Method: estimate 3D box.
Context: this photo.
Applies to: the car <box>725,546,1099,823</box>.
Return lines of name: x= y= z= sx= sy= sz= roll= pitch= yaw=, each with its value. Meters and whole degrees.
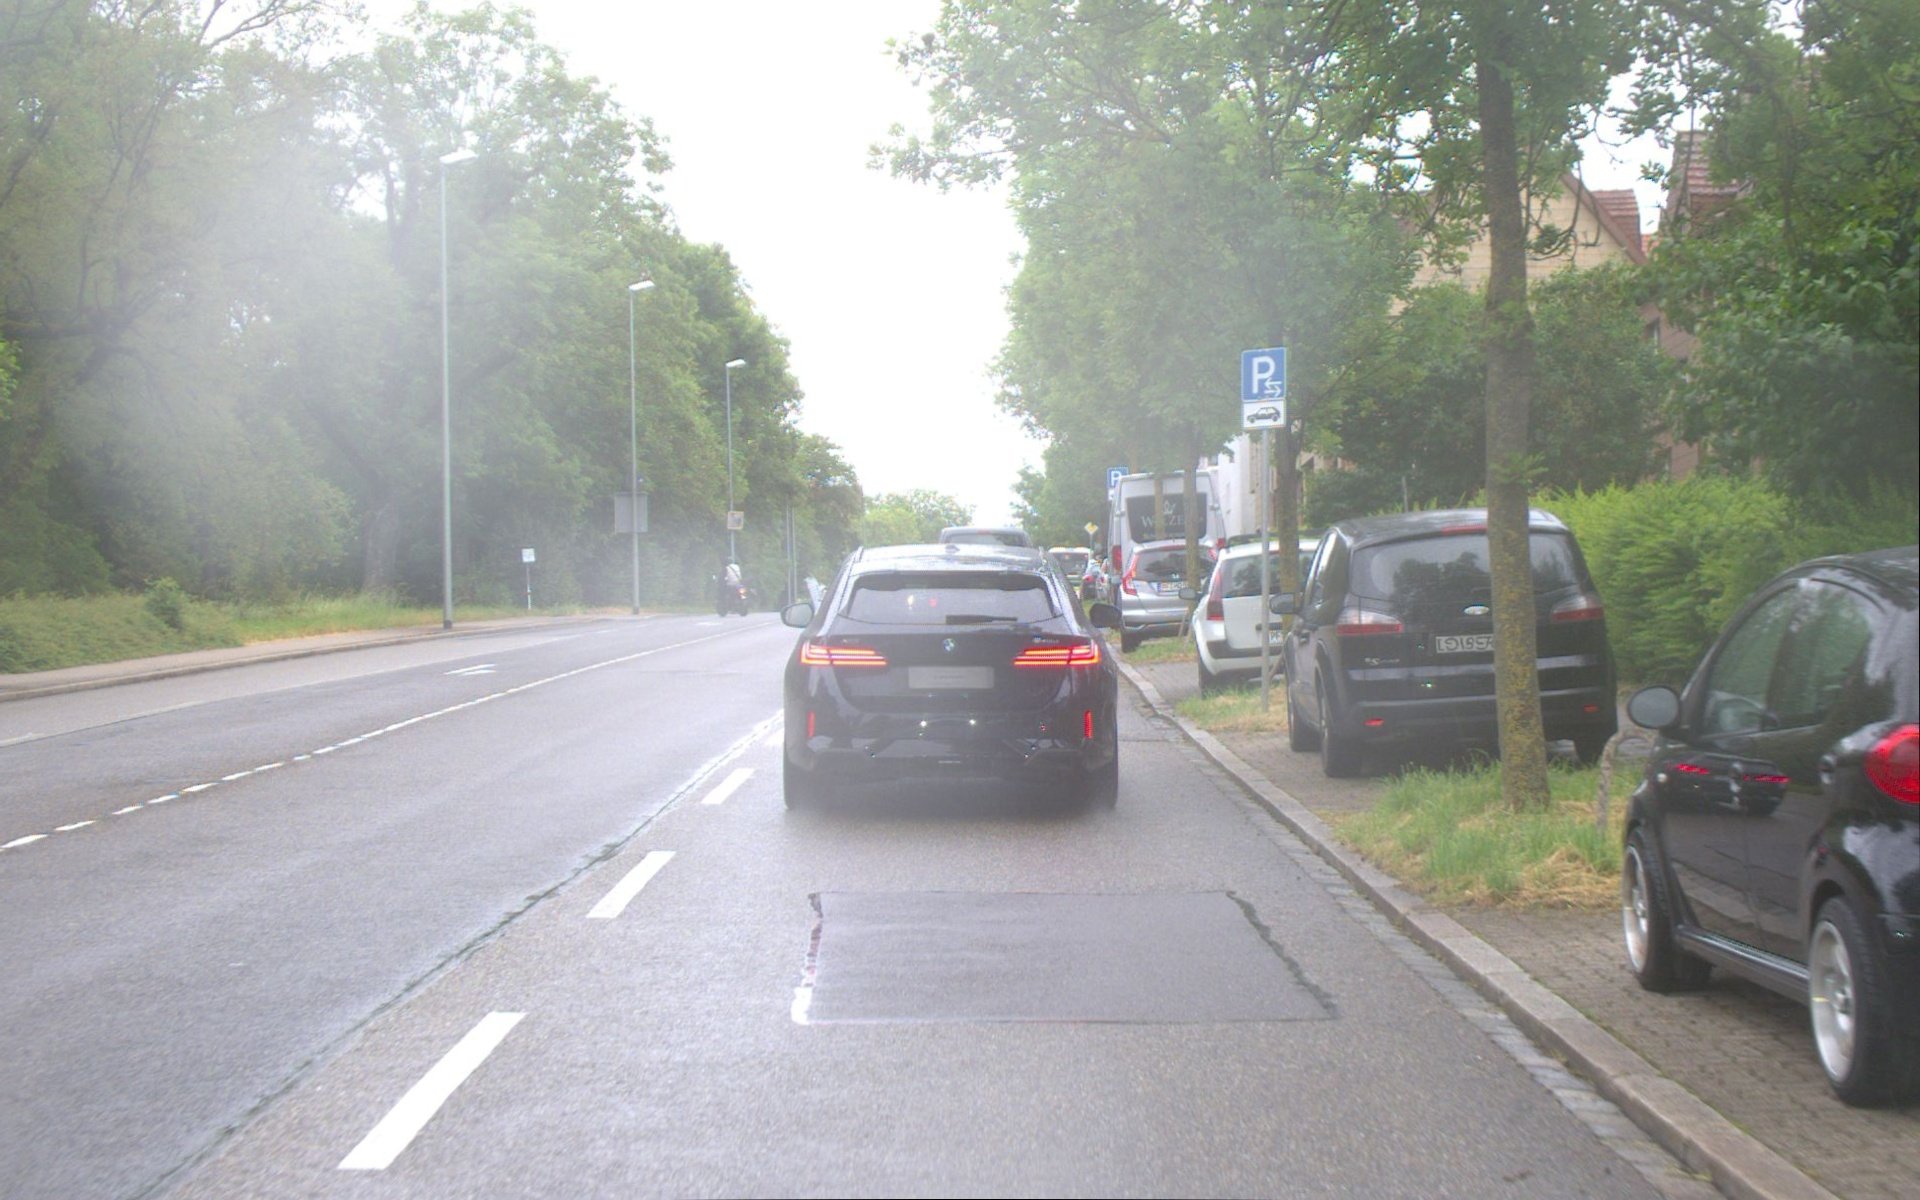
car: x=-0.270 y=0.460 z=20.682 sx=1.993 sy=1.448 sz=4.000 roll=2 pitch=0 yaw=0

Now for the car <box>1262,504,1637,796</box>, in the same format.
car: x=3.142 y=0.273 z=22.950 sx=1.824 sy=1.672 sz=4.584 roll=-3 pitch=1 yaw=1

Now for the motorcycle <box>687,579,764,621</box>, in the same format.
motorcycle: x=-6.410 y=-0.007 z=94.047 sx=2.187 sy=1.114 sz=0.822 roll=1 pitch=1 yaw=43

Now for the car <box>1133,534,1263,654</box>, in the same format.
car: x=3.378 y=-0.098 z=48.869 sx=1.668 sy=1.523 sz=3.831 roll=-4 pitch=0 yaw=4

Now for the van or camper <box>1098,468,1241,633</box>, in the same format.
van or camper: x=3.625 y=-0.879 z=60.750 sx=2.198 sy=2.642 sz=7.301 roll=-3 pitch=1 yaw=2

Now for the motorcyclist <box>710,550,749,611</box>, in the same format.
motorcyclist: x=-6.298 y=-0.534 z=93.945 sx=0.651 sy=1.675 sz=0.811 roll=1 pitch=1 yaw=43

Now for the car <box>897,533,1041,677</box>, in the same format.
car: x=0.175 y=0.077 z=50.446 sx=1.993 sy=2.007 sz=4.000 roll=0 pitch=0 yaw=2

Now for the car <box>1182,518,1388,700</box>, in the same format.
car: x=3.153 y=0.047 z=33.860 sx=1.824 sy=1.597 sz=4.473 roll=-3 pitch=1 yaw=4

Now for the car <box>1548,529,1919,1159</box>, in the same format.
car: x=3.027 y=0.551 z=10.341 sx=1.722 sy=1.507 sz=3.786 roll=-2 pitch=1 yaw=-2
